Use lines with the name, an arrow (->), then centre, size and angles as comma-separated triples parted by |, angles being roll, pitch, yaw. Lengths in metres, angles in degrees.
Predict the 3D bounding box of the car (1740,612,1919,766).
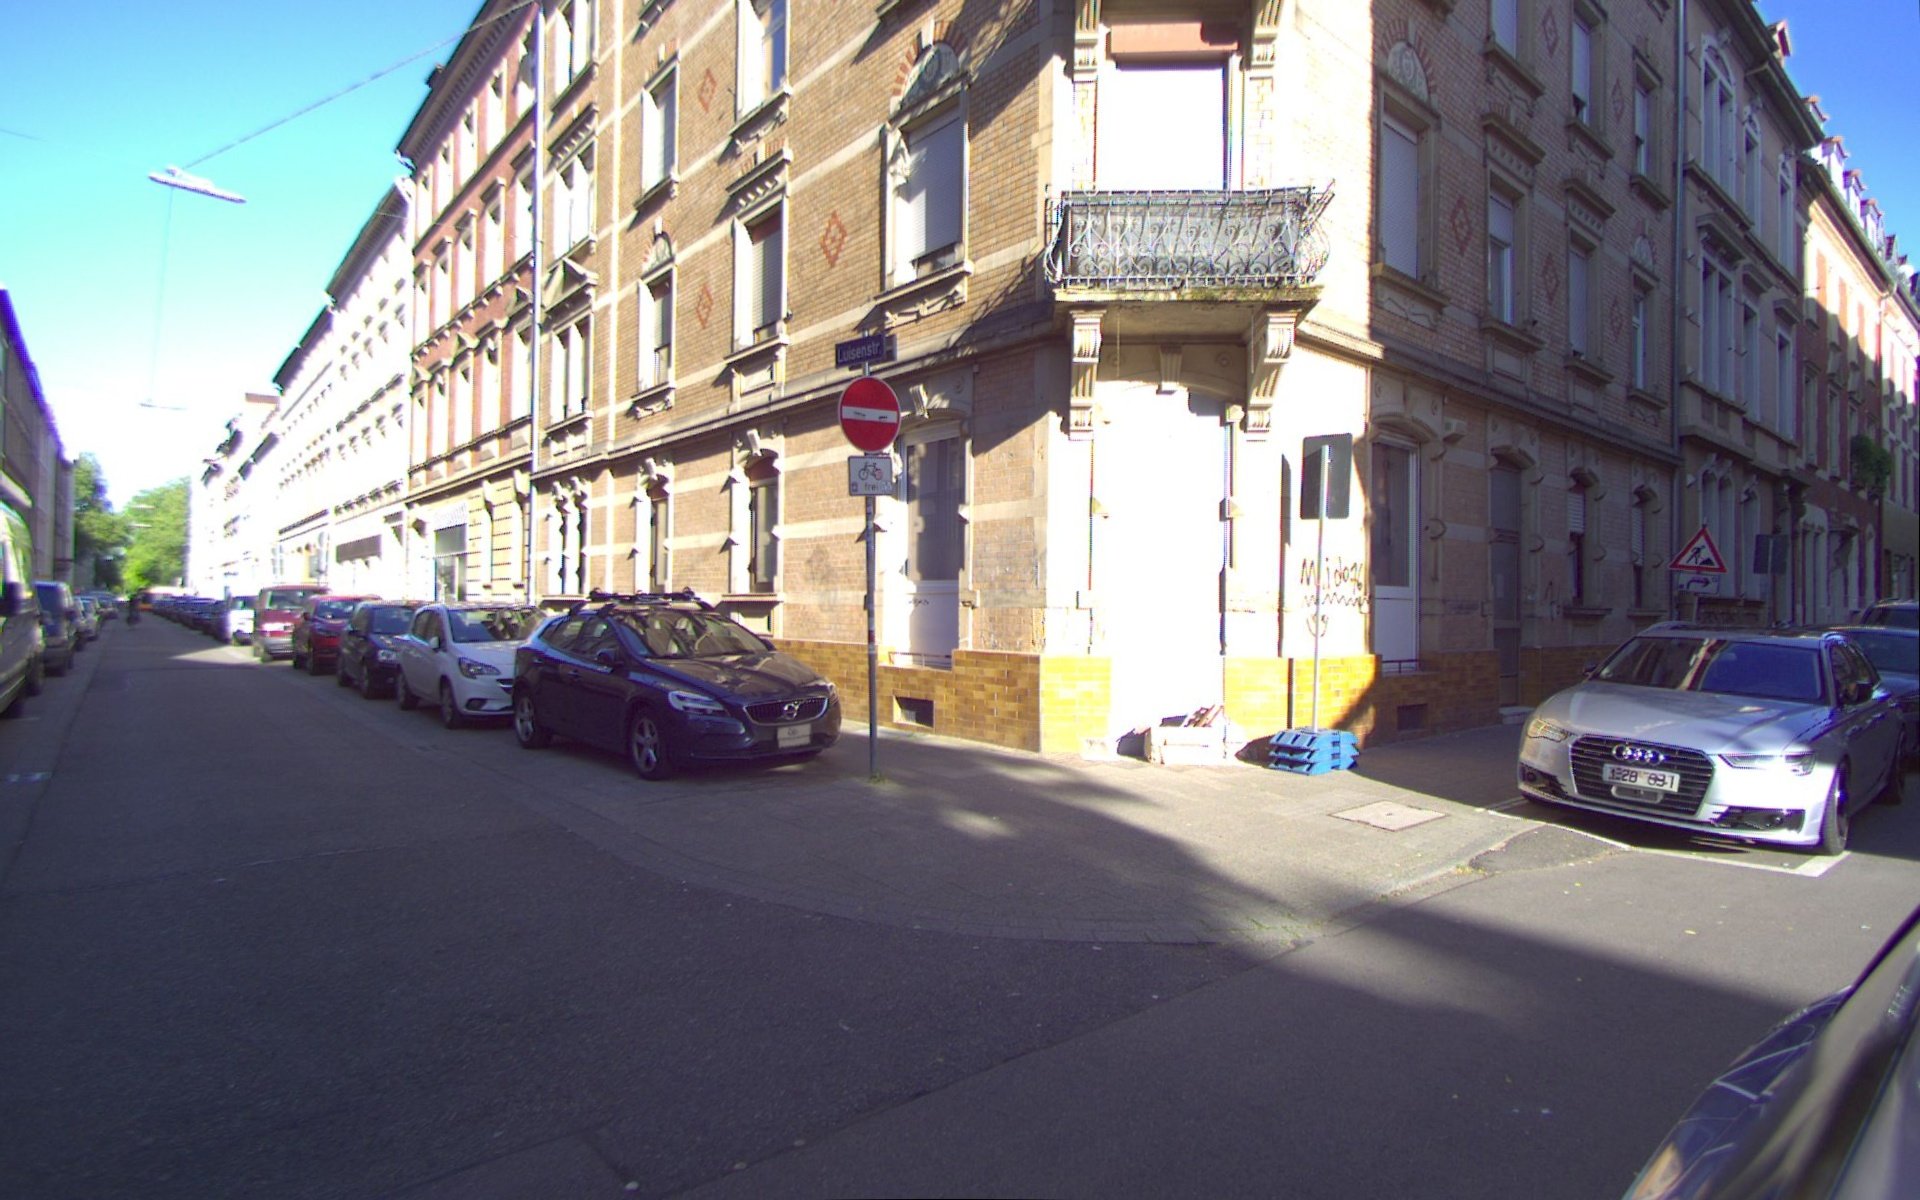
car -> 10.461, 0.905, 11.561 | 3.818, 1.498, 1.670 | 1, -1, -40

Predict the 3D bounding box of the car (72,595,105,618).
car -> -57.838, 0.412, 67.176 | 1.572, 1.444, 3.740 | 1, 0, -40

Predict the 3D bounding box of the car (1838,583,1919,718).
car -> 15.731, 0.760, 16.247 | 4.188, 1.986, 1.772 | 1, -2, -40

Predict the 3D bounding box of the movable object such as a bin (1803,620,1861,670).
movable object such as a bin -> 20.184, 1.037, 23.428 | 0.710, 1.074, 0.897 | 1, 2, -42

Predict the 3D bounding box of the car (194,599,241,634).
car -> -33.371, 0.708, 45.449 | 1.475, 1.506, 3.522 | -1, 0, -40

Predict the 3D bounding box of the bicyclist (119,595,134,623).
bicyclist -> -40.708, 0.440, 49.419 | 0.508, 1.343, 0.638 | 1, -1, -41

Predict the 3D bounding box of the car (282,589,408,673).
car -> -13.136, 0.603, 21.515 | 1.704, 1.602, 3.995 | 1, -1, -40

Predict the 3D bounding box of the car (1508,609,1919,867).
car -> 6.118, 0.828, 7.903 | 4.431, 1.478, 1.709 | 1, -2, -40

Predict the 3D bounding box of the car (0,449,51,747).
car -> -11.081, 0.023, 10.496 | 2.029, 2.685, 6.821 | 4, -3, -39

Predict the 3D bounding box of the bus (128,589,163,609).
bus -> -114.863, -0.112, 142.836 | 2.253, 2.674, 10.318 | 1, -1, -30

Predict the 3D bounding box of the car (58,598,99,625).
car -> -48.251, 0.597, 55.453 | 1.572, 1.444, 3.740 | 1, 0, -40

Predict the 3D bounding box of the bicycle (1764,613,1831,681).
bicycle -> 17.262, 0.941, 20.840 | 1.662, 1.320, 0.728 | 1, 2, -40

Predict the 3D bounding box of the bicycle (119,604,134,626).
bicycle -> -40.658, 0.738, 49.355 | 0.524, 1.068, 1.778 | 1, -1, -41

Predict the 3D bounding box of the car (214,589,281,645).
car -> -23.942, 0.538, 33.953 | 1.510, 1.772, 4.052 | 1, -1, -40

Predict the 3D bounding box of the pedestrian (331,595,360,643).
pedestrian -> -20.711, 0.624, 34.109 | 0.698, 1.587, 0.723 | 1, -1, -40

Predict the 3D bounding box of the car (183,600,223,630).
car -> -38.917, 0.742, 51.994 | 1.475, 1.506, 3.522 | -1, 0, -40

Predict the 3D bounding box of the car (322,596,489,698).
car -> -9.314, 0.689, 16.857 | 1.704, 1.488, 3.995 | 1, -1, -40

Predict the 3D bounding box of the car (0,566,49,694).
car -> -15.445, 0.437, 15.831 | 1.691, 1.822, 4.400 | 2, -2, -42

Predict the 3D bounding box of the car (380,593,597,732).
car -> -6.315, 0.690, 13.324 | 1.562, 1.456, 3.995 | -3, 3, -40

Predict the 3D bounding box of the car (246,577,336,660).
car -> -17.462, 0.451, 26.343 | 1.510, 1.997, 4.023 | 1, -1, -40

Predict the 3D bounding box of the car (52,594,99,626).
car -> -41.599, 0.453, 47.651 | 1.572, 1.444, 3.740 | 1, 0, -40

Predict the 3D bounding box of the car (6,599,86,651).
car -> -26.471, 0.680, 29.394 | 1.573, 1.407, 3.994 | 1, 0, -41

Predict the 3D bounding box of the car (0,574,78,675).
car -> -18.762, 0.453, 20.275 | 1.572, 1.856, 4.099 | 0, 0, -40

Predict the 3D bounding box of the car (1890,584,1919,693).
car -> 20.042, 0.722, 19.973 | 4.657, 2.040, 1.835 | 1, -2, -40

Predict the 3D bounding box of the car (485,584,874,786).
car -> -2.887, 0.630, 9.832 | 4.241, 1.488, 1.741 | 0, 2, 44

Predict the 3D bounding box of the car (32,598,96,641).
car -> -32.014, 0.673, 36.249 | 1.572, 1.444, 3.865 | 1, 0, -40

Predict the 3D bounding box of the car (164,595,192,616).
car -> -56.701, 0.383, 73.349 | 1.475, 1.506, 3.522 | -1, 0, -40

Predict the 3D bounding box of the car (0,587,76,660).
car -> -23.347, 0.539, 25.397 | 1.669, 1.722, 3.994 | 1, 0, -41
